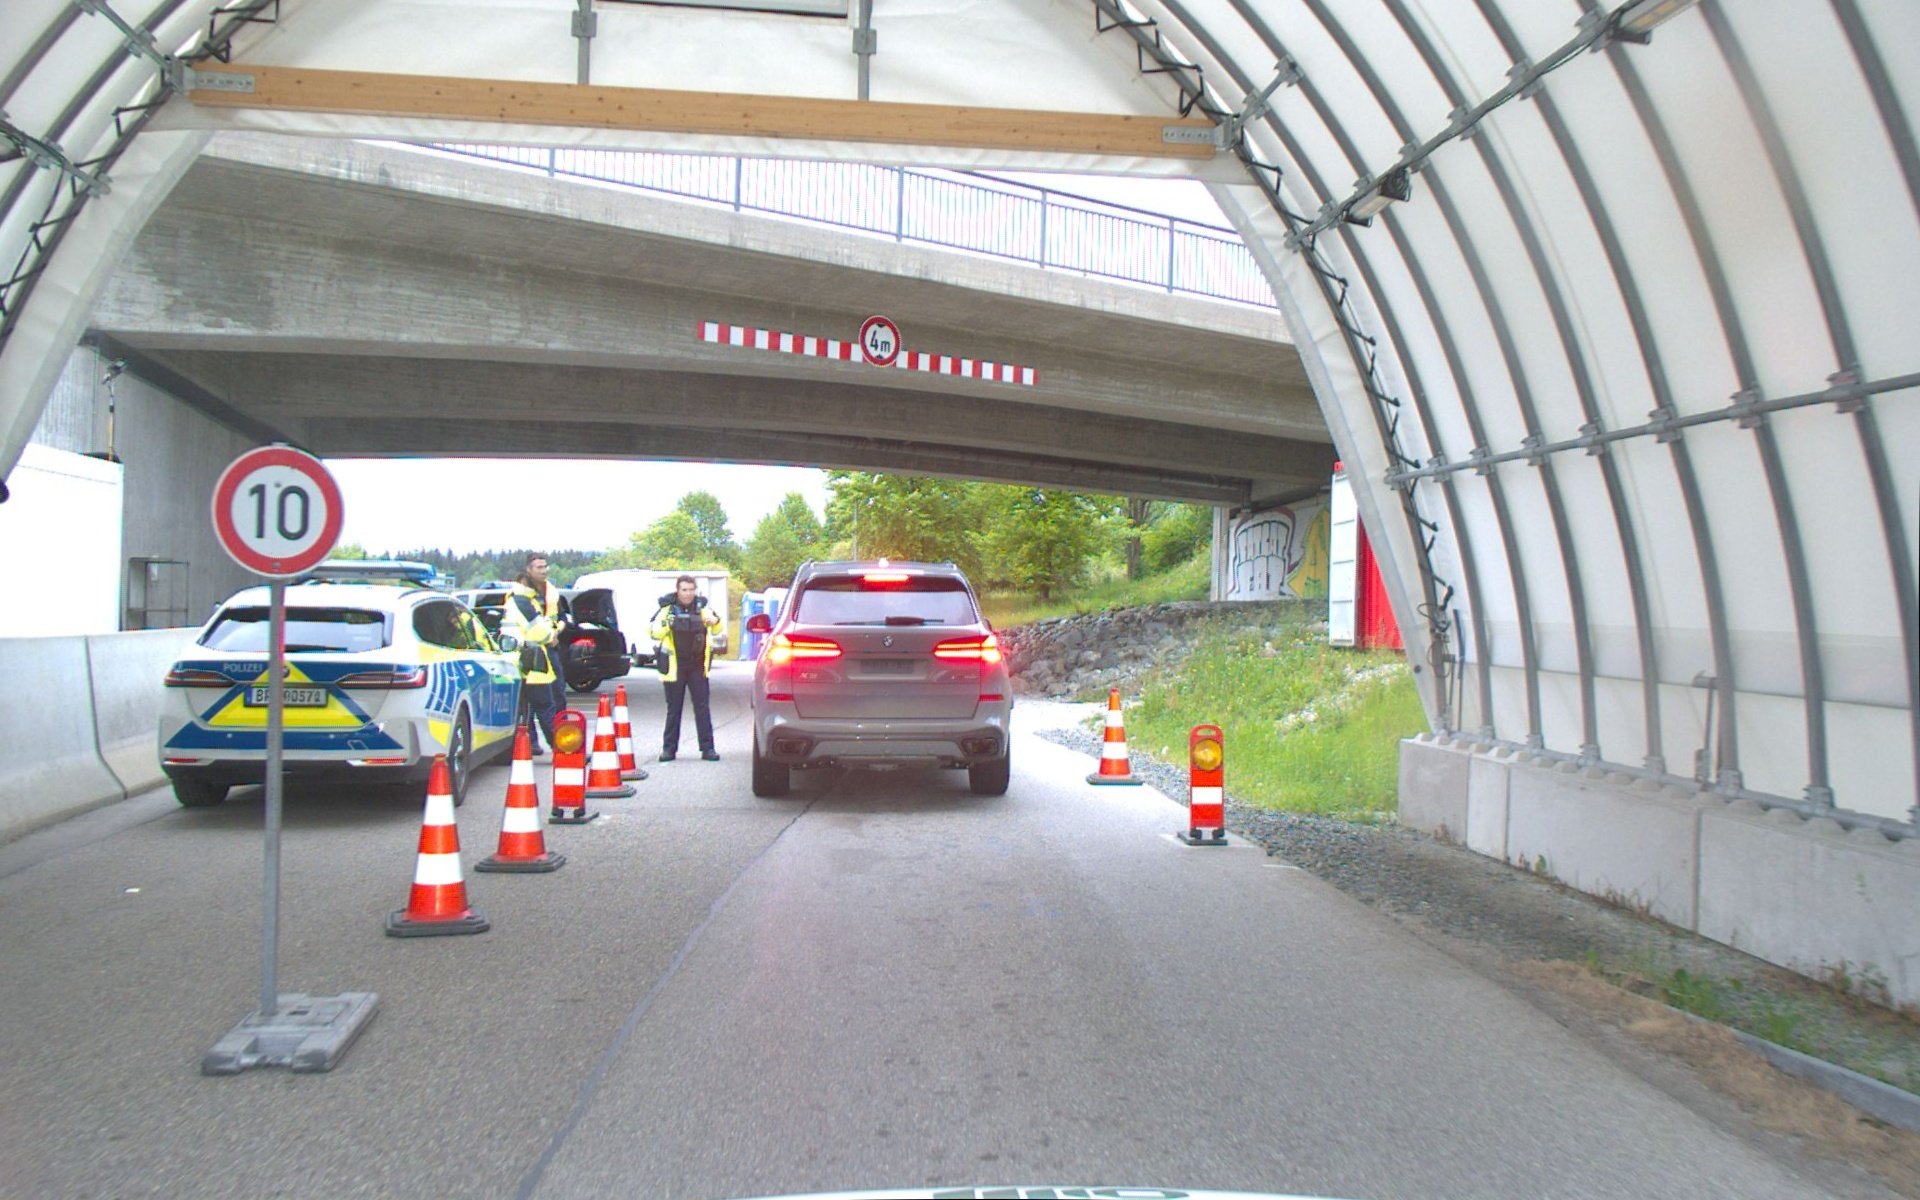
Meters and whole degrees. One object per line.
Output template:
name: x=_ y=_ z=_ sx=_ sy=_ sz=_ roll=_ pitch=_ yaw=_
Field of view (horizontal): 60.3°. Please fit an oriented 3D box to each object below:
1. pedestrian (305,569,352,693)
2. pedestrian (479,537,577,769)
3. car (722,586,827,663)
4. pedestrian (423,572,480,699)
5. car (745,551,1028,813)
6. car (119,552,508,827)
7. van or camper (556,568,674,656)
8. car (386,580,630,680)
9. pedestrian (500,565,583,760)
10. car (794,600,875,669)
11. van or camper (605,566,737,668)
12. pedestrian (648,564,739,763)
pedestrian: x=-10.541 y=0.513 z=27.634 sx=0.613 sy=2.049 sz=0.654 roll=0 pitch=0 yaw=-11
pedestrian: x=-3.750 y=0.447 z=14.399 sx=0.735 sy=1.952 sz=0.761 roll=0 pitch=0 yaw=-9
car: x=-6.072 y=0.773 z=53.760 sx=1.973 sy=2.387 sz=3.959 roll=0 pitch=0 yaw=-30
pedestrian: x=-8.322 y=0.581 z=27.074 sx=0.686 sy=2.049 sz=0.693 roll=0 pitch=0 yaw=5
car: x=-0.626 y=0.566 z=13.488 sx=1.954 sy=1.796 sz=3.997 roll=-1 pitch=0 yaw=-4
car: x=-4.550 y=0.549 z=12.275 sx=1.843 sy=1.675 sz=3.992 roll=-1 pitch=0 yaw=-9
van or camper: x=-10.779 y=0.345 z=51.358 sx=2.080 sy=2.563 sz=5.498 roll=0 pitch=0 yaw=-29
car: x=-9.609 y=0.630 z=35.241 sx=4.703 sy=2.049 sz=1.842 roll=0 pitch=0 yaw=13
pedestrian: x=-3.912 y=0.571 z=15.511 sx=0.596 sy=1.784 sz=0.666 roll=-1 pitch=0 yaw=0
car: x=-3.411 y=0.882 z=44.306 sx=1.956 sy=1.752 sz=3.890 roll=-1 pitch=0 yaw=-7
van or camper: x=-8.094 y=0.440 z=45.701 sx=2.200 sy=2.597 sz=6.564 roll=0 pitch=0 yaw=-23
pedestrian: x=-2.429 y=0.560 z=15.037 sx=0.766 sy=1.752 sz=0.754 roll=0 pitch=0 yaw=-13
